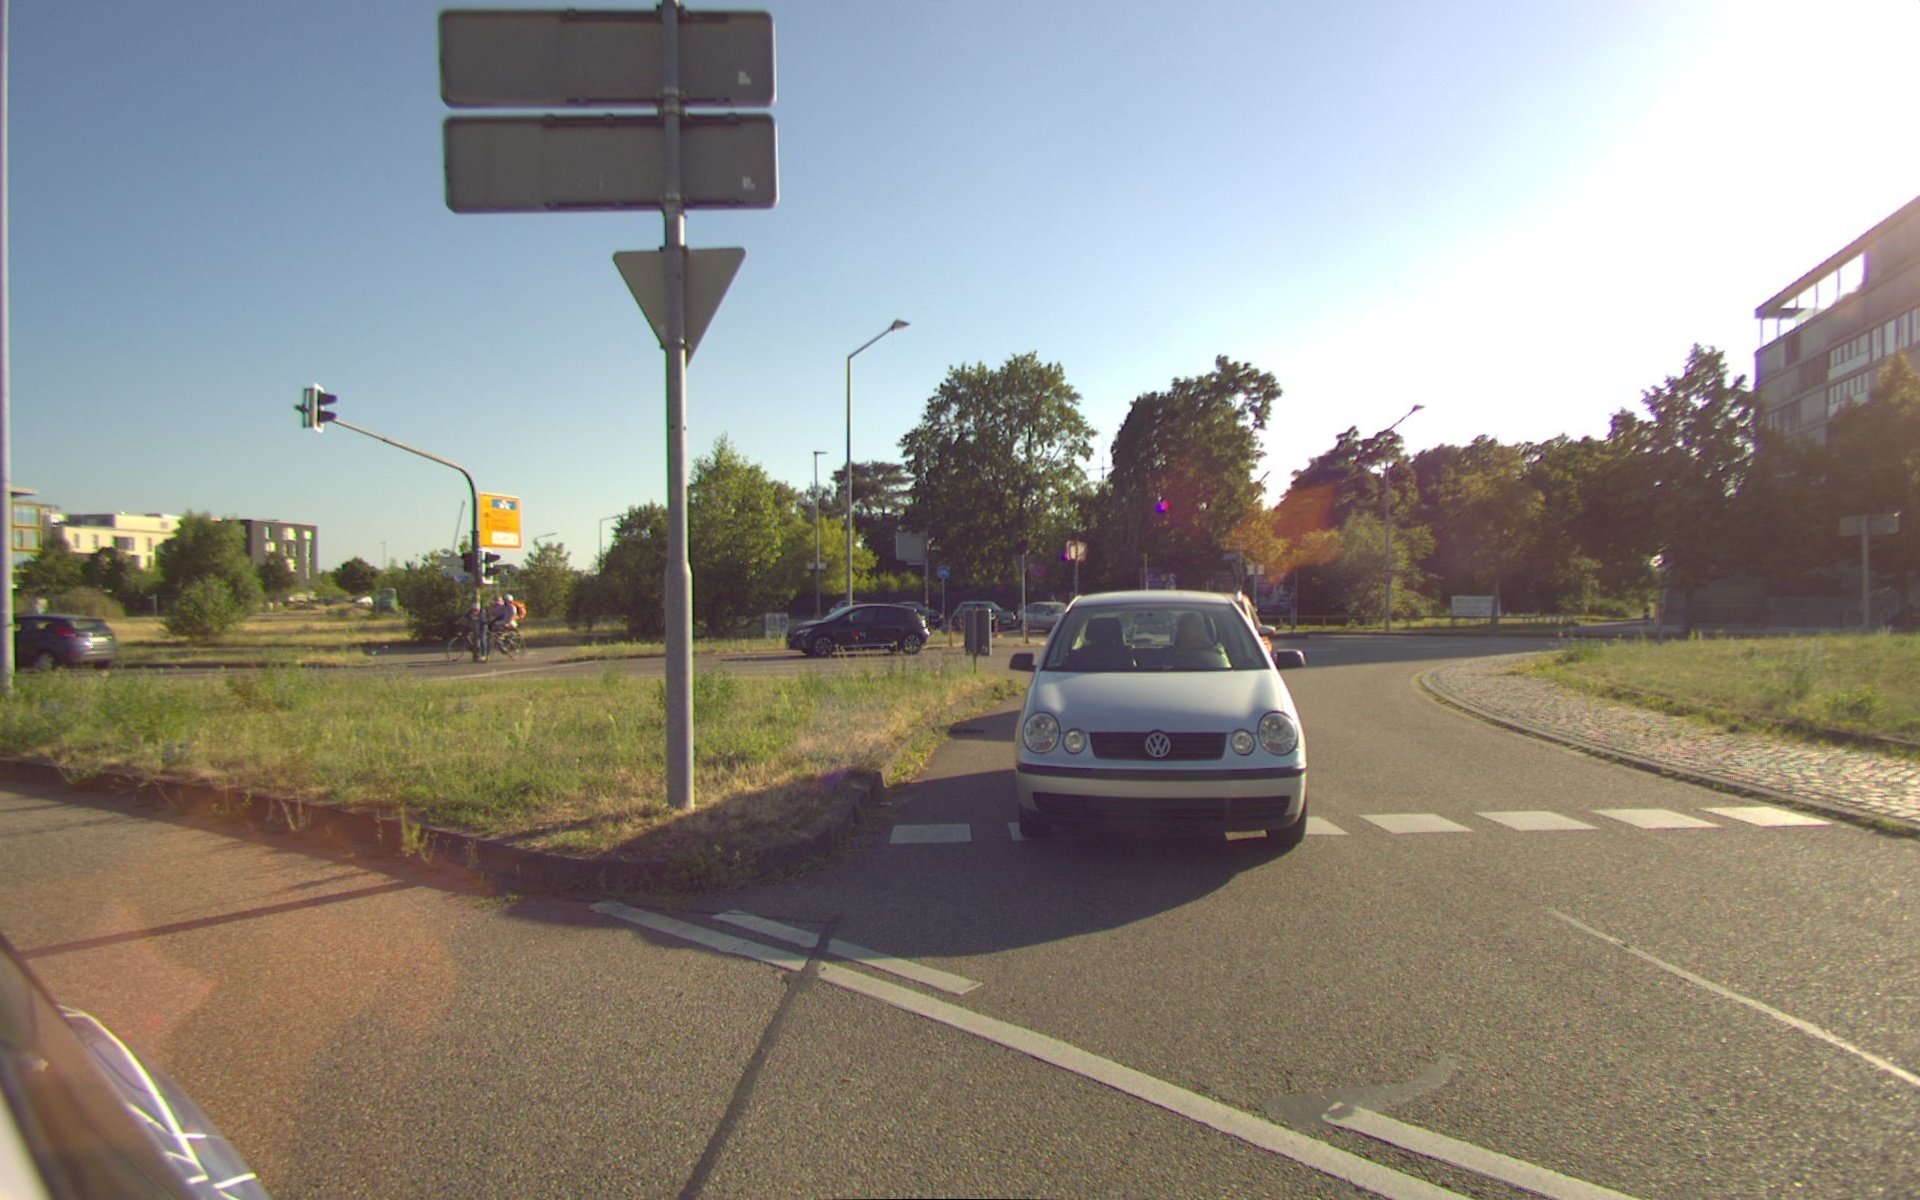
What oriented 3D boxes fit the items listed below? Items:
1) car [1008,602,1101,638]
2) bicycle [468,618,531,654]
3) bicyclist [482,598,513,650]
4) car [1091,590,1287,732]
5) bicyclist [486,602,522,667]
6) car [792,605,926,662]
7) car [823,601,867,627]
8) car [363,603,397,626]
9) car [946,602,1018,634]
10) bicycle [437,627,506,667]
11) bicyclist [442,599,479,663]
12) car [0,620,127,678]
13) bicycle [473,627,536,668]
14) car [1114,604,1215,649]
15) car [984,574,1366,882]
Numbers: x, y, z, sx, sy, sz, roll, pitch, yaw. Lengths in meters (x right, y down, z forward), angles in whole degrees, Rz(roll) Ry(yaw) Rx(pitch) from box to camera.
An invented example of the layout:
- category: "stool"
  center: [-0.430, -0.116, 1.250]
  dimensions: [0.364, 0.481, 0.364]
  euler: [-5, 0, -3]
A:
- category: "car"
  center: [4.148, 0.860, 44.984]
  dimensions: [1.844, 1.519, 4.320]
  euler: [0, 0, -33]
- category: "bicycle"
  center: [-14.949, 1.162, 32.882]
  dimensions: [1.792, 1.127, 0.728]
  euler: [0, 0, -15]
- category: "bicyclist"
  center: [-14.999, 0.774, 32.845]
  dimensions: [0.817, 1.679, 0.712]
  euler: [0, 0, -15]
- category: "car"
  center: [3.016, 0.639, 12.635]
  dimensions: [1.895, 1.455, 4.112]
  euler: [-1, 0, 20]
- category: "bicyclist"
  center: [-12.910, 0.961, 28.666]
  dimensions: [0.492, 1.802, 0.811]
  euler: [0, 1, 17]
- category: "car"
  center: [-2.801, 0.903, 28.114]
  dimensions: [3.402, 1.464, 1.514]
  euler: [0, 0, -24]
- category: "car"
  center: [-8.453, 1.035, 74.265]
  dimensions: [1.577, 1.874, 4.011]
  euler: [0, 0, -34]
- category: "car"
  center: [-51.714, 1.256, 90.298]
  dimensions: [1.965, 2.029, 3.893]
  euler: [0, 0, -19]
- category: "car"
  center: [1.048, 0.874, 50.282]
  dimensions: [1.844, 1.519, 3.719]
  euler: [0, 0, -33]
- category: "bicycle"
  center: [-14.114, 1.348, 29.289]
  dimensions: [0.501, 1.027, 1.899]
  euler: [0, 1, 24]
- category: "bicyclist"
  center: [-14.274, 0.859, 28.927]
  dimensions: [0.493, 1.784, 0.809]
  euler: [0, 1, 24]
- category: "car"
  center: [-23.571, 1.213, 25.442]
  dimensions: [3.895, 1.386, 1.672]
  euler: [-1, -1, 0]
- category: "bicycle"
  center: [-12.906, 1.329, 28.738]
  dimensions: [0.500, 1.027, 1.904]
  euler: [0, 1, 16]
- category: "car"
  center: [7.261, 0.909, 36.304]
  dimensions: [1.817, 1.519, 3.988]
  euler: [0, 0, -18]
- category: "car"
  center: [1.396, 0.619, 6.799]
  dimensions: [1.817, 1.445, 3.745]
  euler: [-1, 0, 12]
